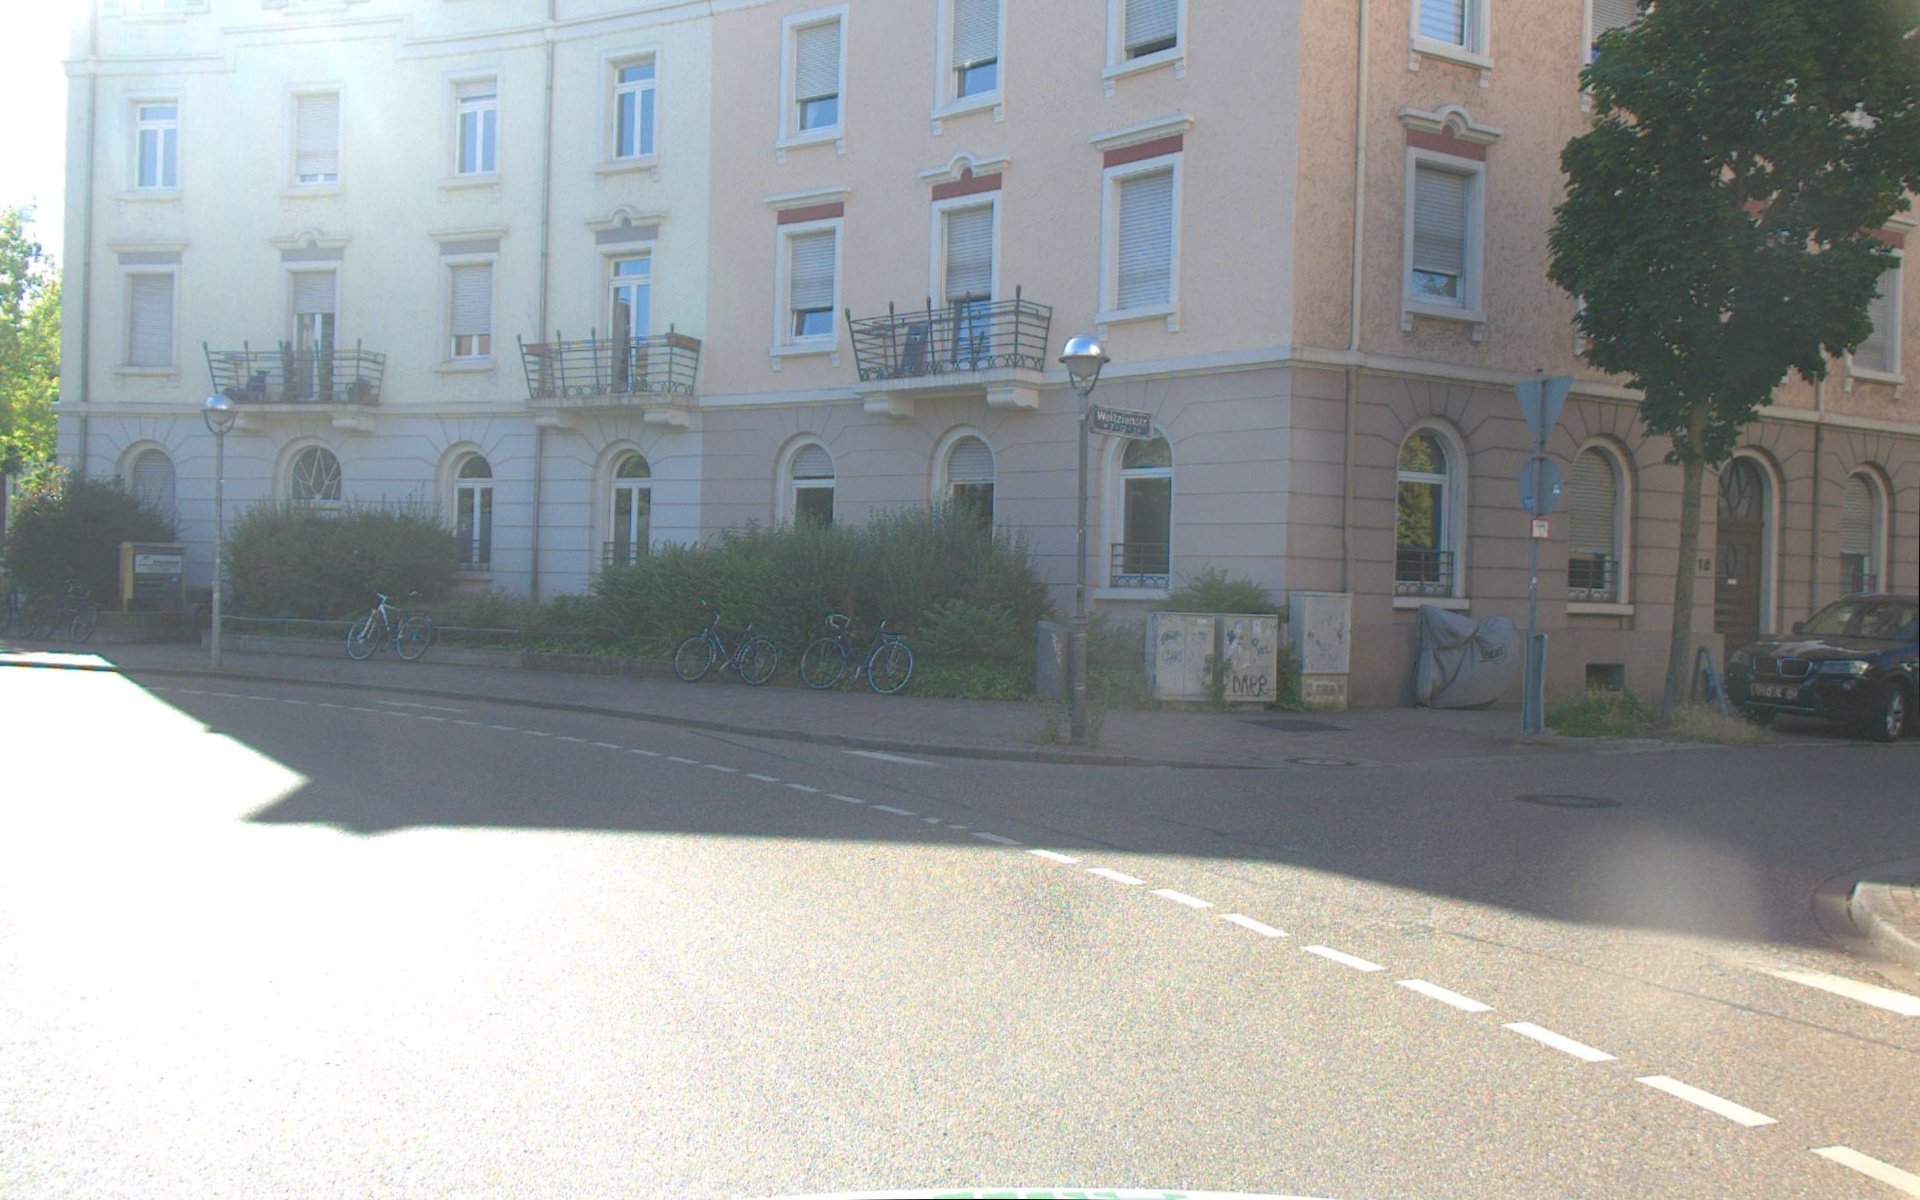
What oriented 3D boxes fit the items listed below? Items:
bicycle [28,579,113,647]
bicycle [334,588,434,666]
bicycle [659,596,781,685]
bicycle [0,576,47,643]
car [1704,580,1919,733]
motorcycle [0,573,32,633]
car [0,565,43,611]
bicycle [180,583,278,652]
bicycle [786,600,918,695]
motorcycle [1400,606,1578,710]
[{"bbox_3d":[-15.441,0.211,28.699,1.762,1.127,0.499,2,1,32],"label":"bicycle"},{"bbox_3d":[-8.715,0.393,25.011,1.650,1.107,0.501,1,2,32],"label":"bicycle"},{"bbox_3d":[-3.185,0.523,21.883,1.649,1.107,0.502,1,2,30],"label":"bicycle"},{"bbox_3d":[-17.043,0.155,29.689,1.766,1.127,0.498,2,1,38],"label":"bicycle"},{"bbox_3d":[11.207,0.657,20.038,4.288,1.670,1.889,2,0,-31],"label":"car"},{"bbox_3d":[-19.824,0.051,33.932,0.869,1.212,1.487,-1,1,-9],"label":"motorcycle"},{"bbox_3d":[-28.178,-0.366,47.956,1.763,1.277,3.707,1,0,-13],"label":"car"},{"bbox_3d":[-12.436,0.282,28.186,0.488,1.127,1.683,1,1,21],"label":"bicycle"},{"bbox_3d":[-1.362,0.578,20.715,1.649,1.107,0.502,1,2,30],"label":"bicycle"},{"bbox_3d":[6.798,0.730,21.251,2.121,1.241,0.935,1,2,-27],"label":"motorcycle"}]
